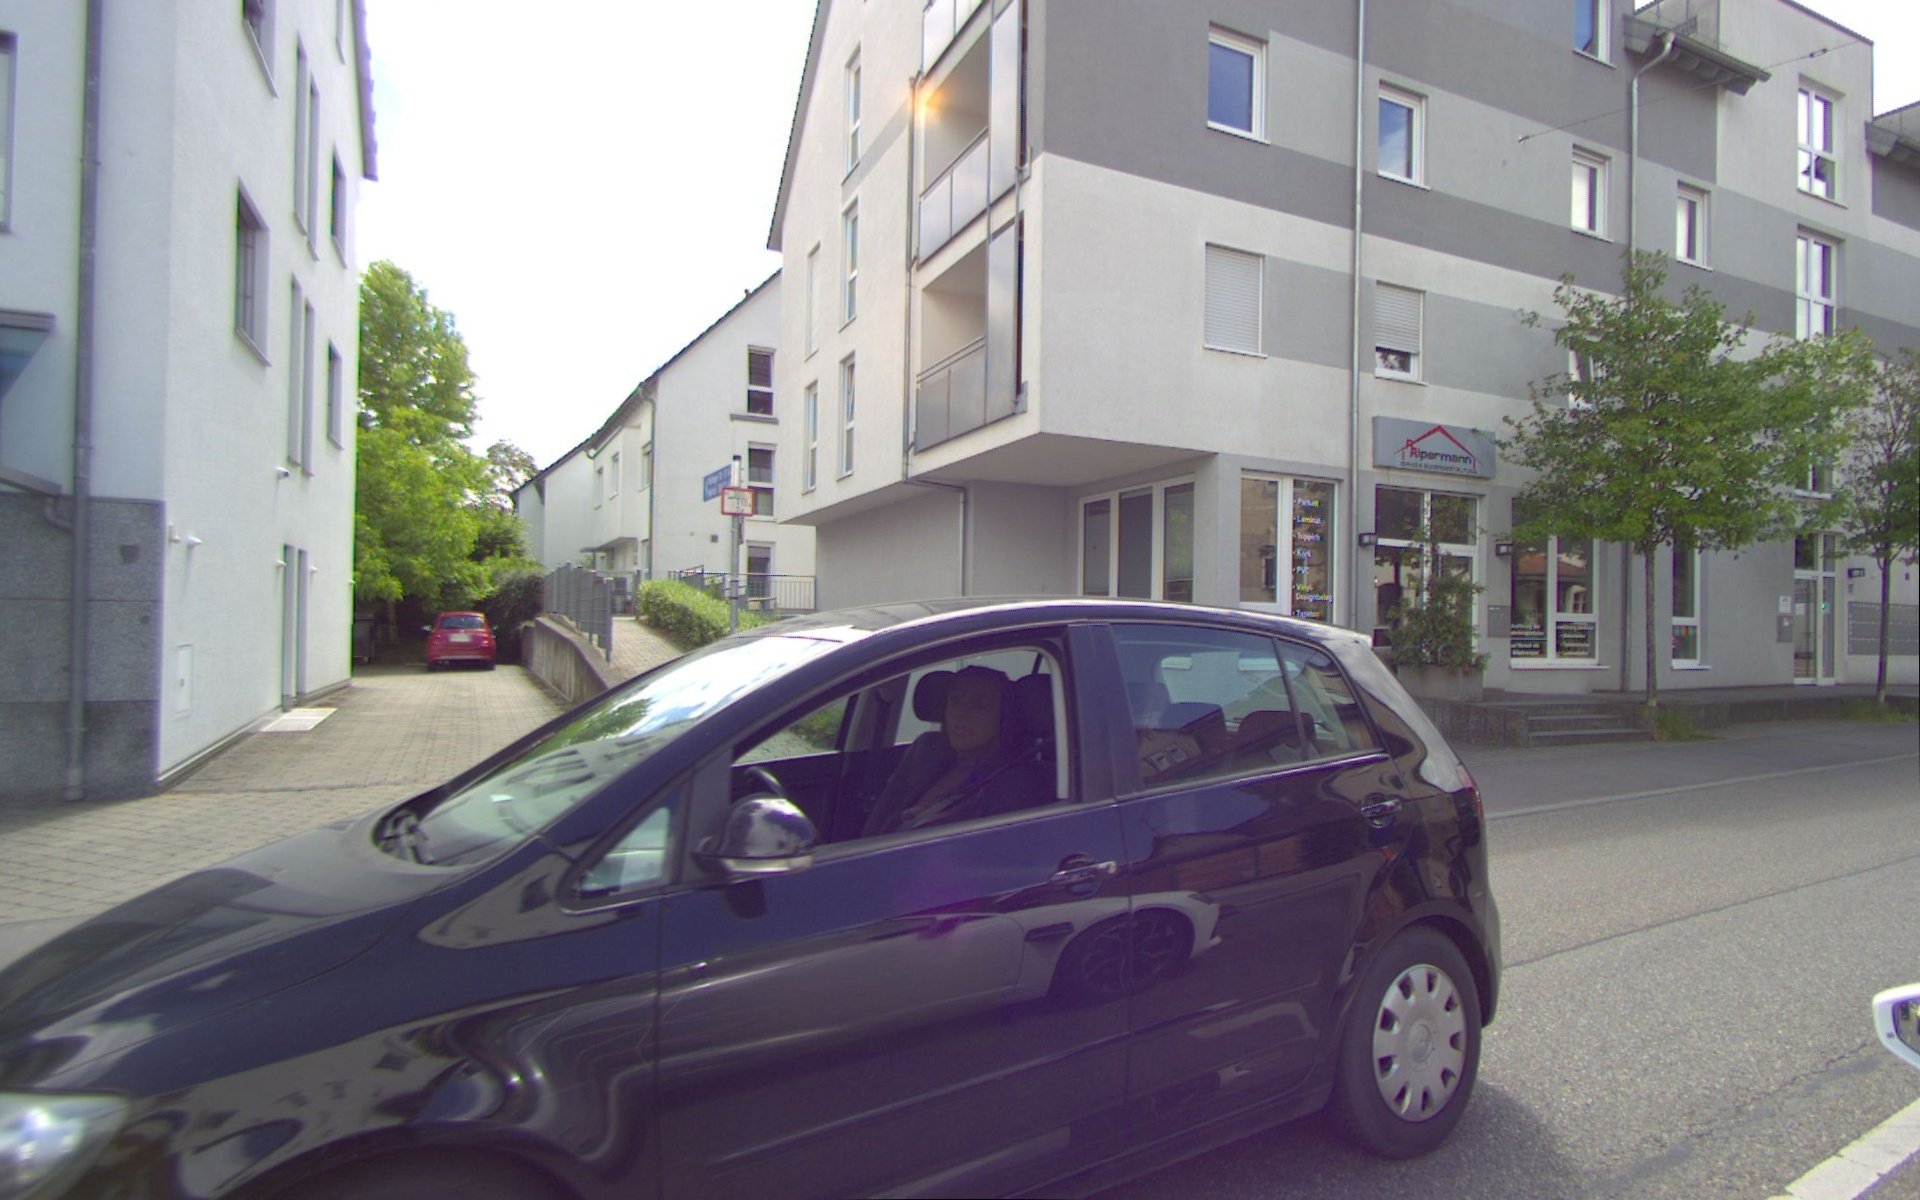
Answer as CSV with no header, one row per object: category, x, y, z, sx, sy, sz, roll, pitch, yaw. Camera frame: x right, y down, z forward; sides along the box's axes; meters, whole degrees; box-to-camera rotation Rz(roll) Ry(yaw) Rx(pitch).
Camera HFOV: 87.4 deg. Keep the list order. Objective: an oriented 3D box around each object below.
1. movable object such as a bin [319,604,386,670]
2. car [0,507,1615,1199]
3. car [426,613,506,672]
movable object such as a bin,-16.546,0.996,27.398,1.491,1.753,1.078,2,-1,-31
car,-0.111,0.760,2.941,3.991,1.605,1.823,1,-3,-31
car,-13.371,1.105,27.370,1.695,1.461,3.978,2,-1,-23
